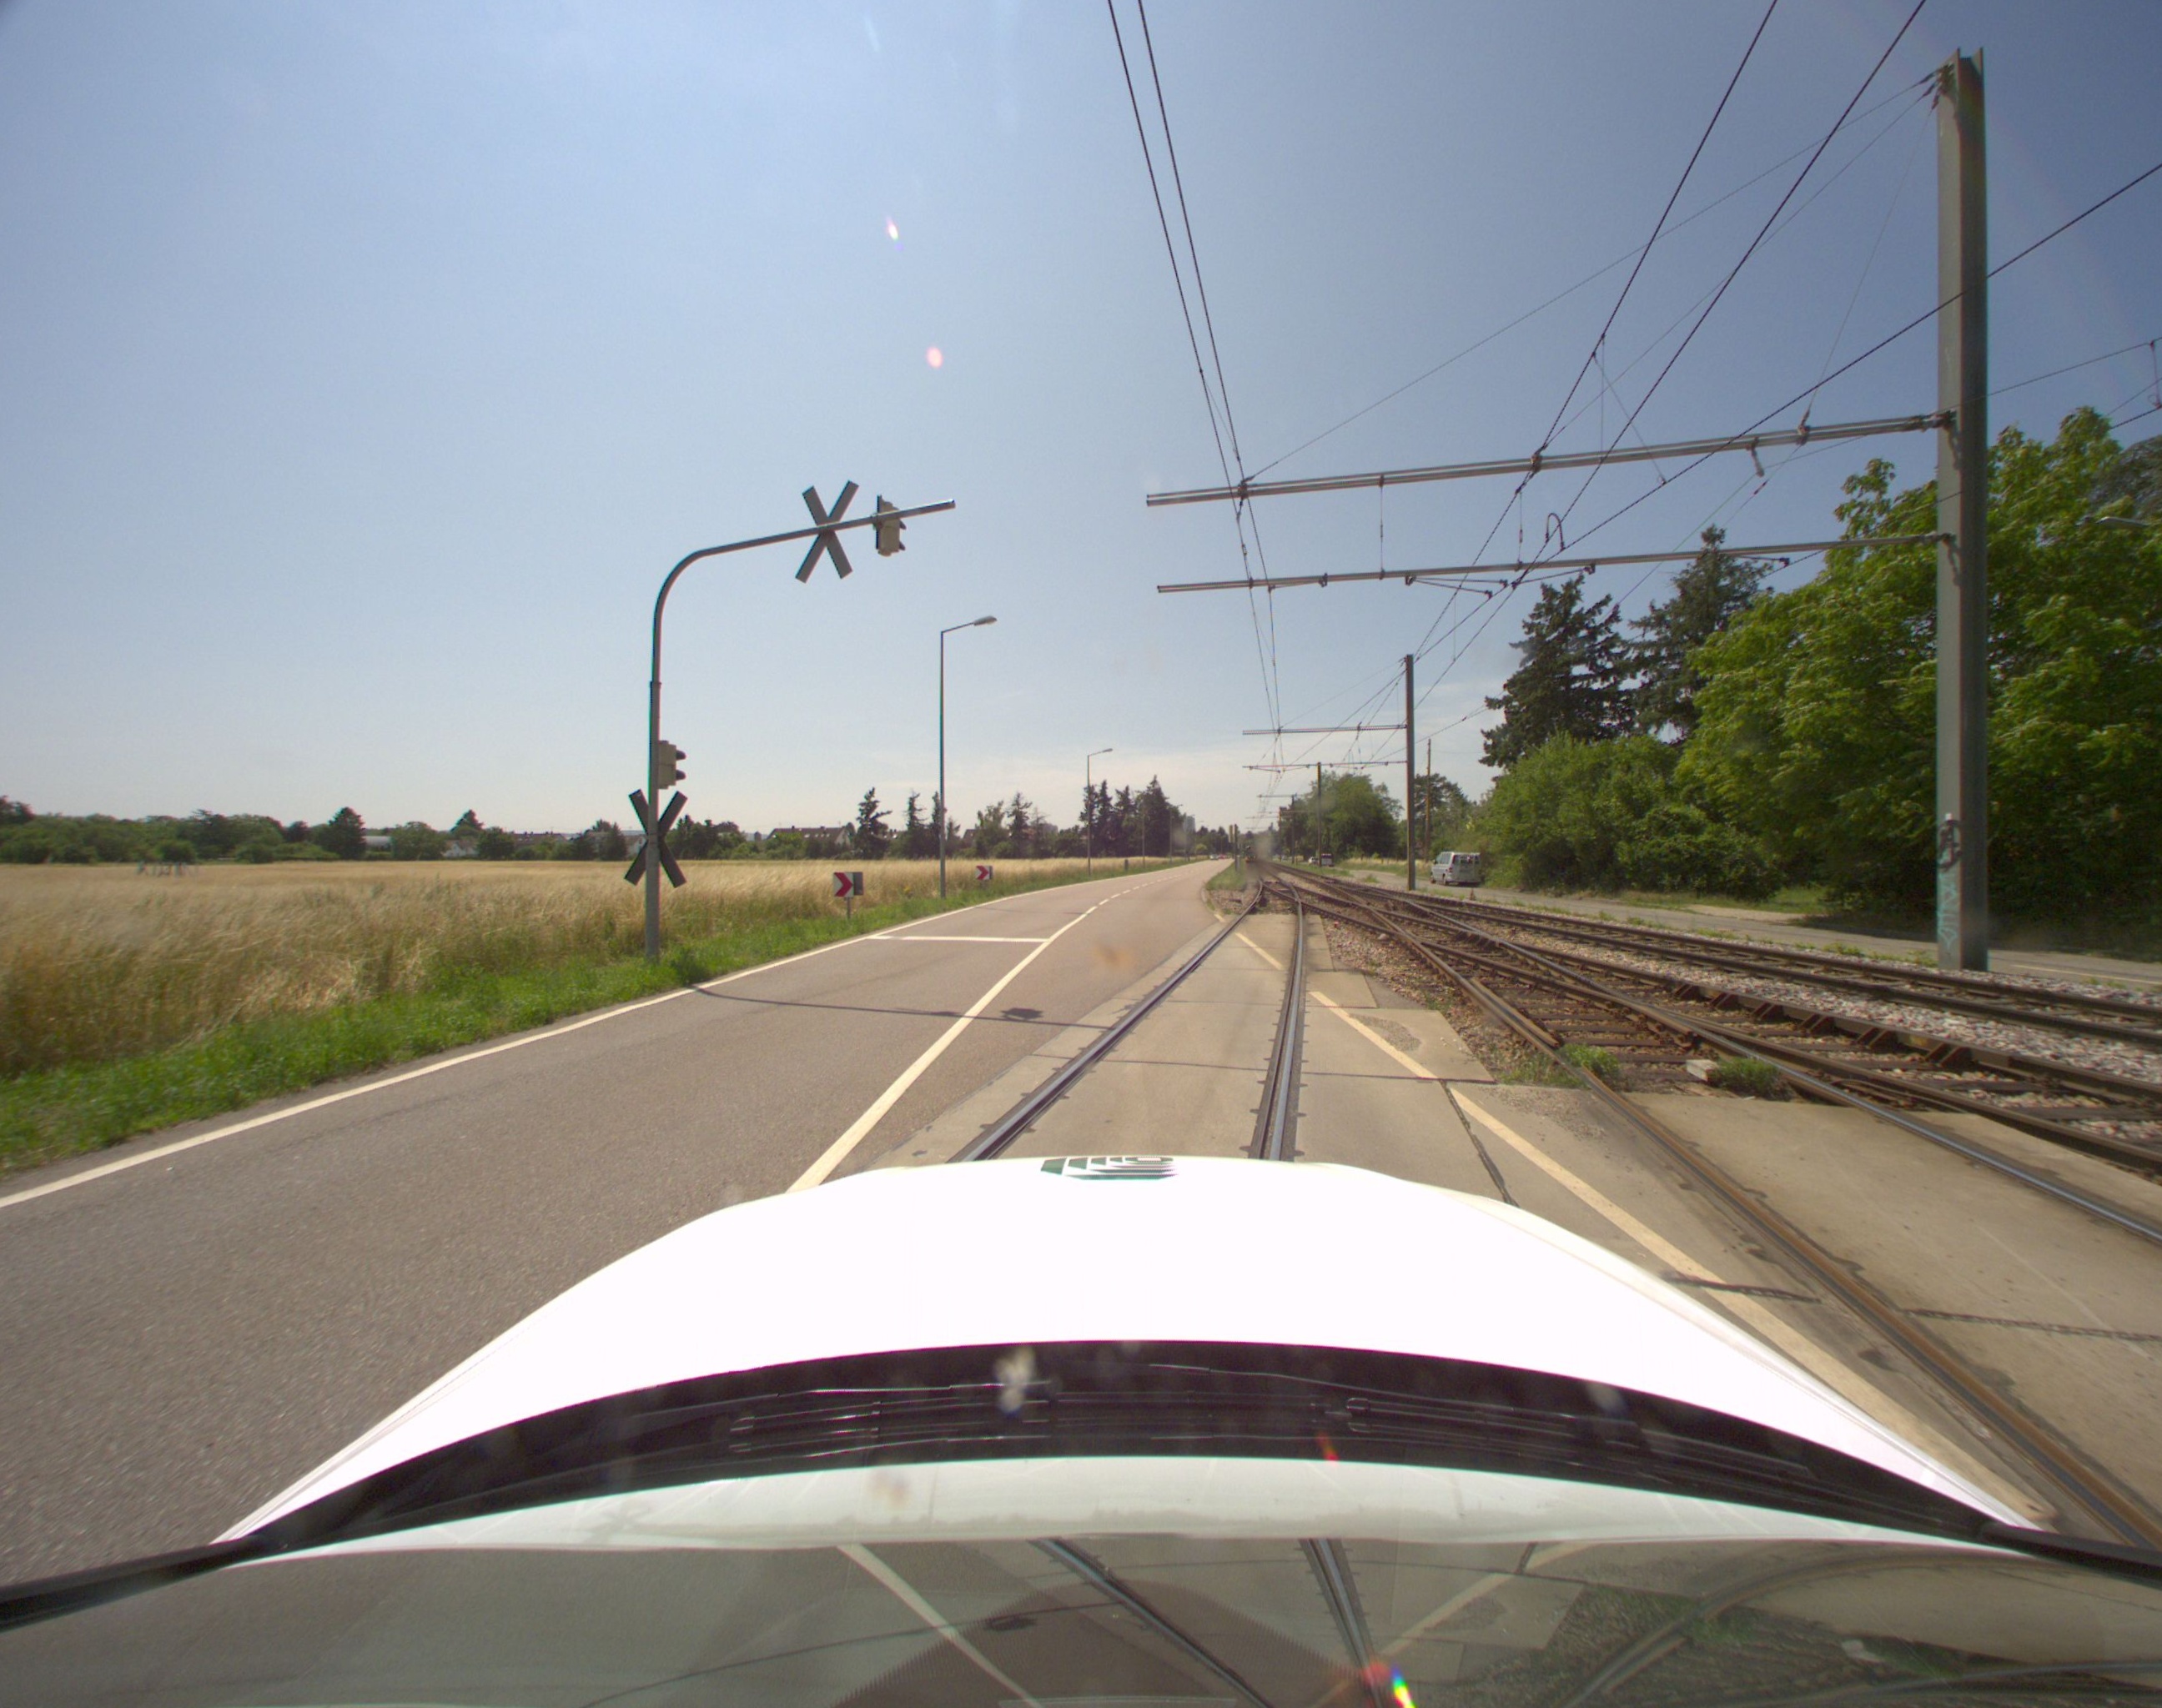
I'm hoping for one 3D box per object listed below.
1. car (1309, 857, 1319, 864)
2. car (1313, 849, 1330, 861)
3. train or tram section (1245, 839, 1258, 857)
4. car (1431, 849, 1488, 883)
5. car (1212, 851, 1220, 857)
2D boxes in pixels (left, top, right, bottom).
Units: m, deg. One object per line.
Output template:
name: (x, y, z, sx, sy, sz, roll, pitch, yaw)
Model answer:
car: (41.027, 1.148, 143.248, 1.419, 1.308, 3.476, -1, -1, 11)
car: (36.708, 0.169, 124.338, 1.981, 1.802, 4.809, -1, -1, 11)
train or tram section: (37.426, -1.329, 178.933, 2.413, 3.766, 11.594, -1, -1, 11)
car: (22.281, 0.674, 48.160, 2.022, 1.882, 5.087, -1, -1, 13)
car: (33.554, 0.022, 201.823, 1.822, 1.467, 4.692, -1, -1, 11)
